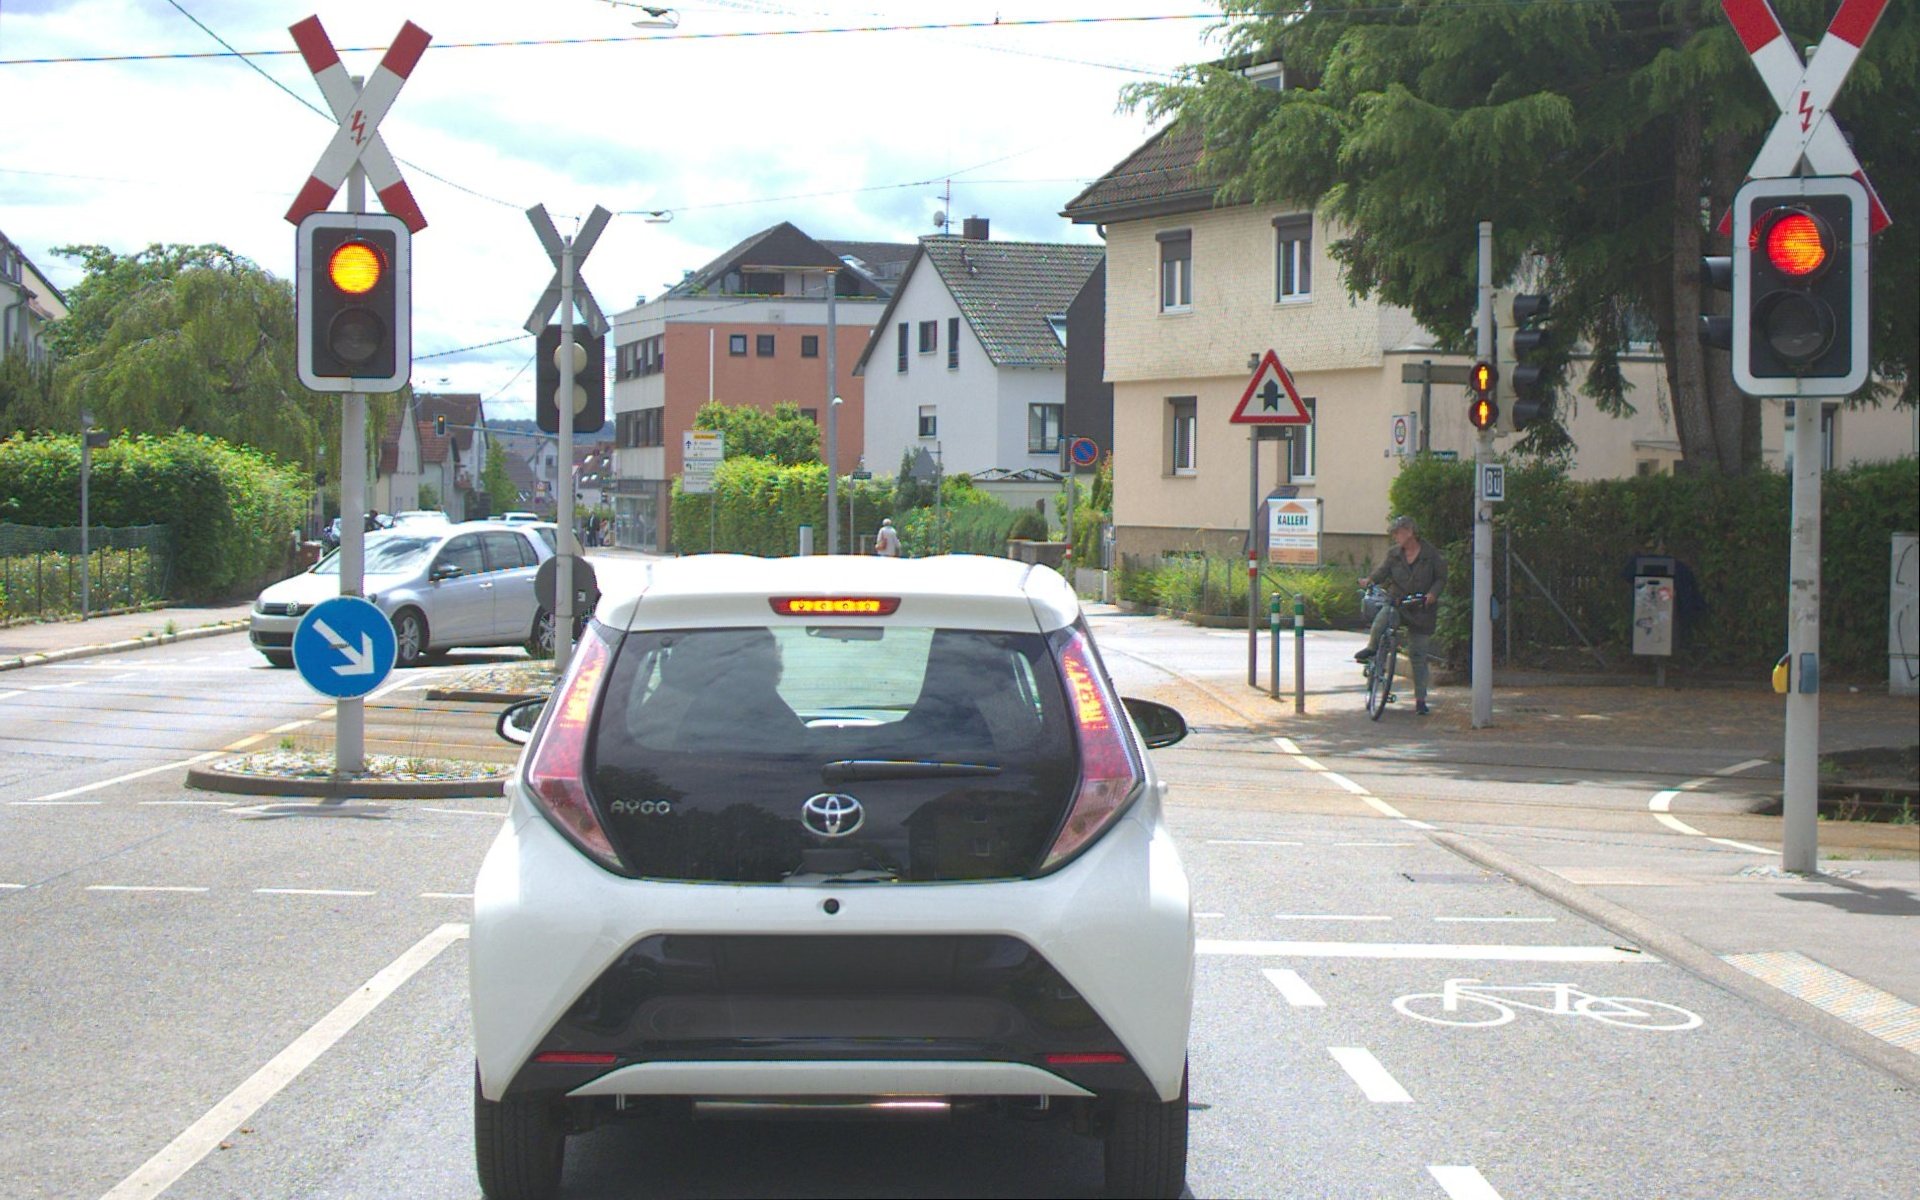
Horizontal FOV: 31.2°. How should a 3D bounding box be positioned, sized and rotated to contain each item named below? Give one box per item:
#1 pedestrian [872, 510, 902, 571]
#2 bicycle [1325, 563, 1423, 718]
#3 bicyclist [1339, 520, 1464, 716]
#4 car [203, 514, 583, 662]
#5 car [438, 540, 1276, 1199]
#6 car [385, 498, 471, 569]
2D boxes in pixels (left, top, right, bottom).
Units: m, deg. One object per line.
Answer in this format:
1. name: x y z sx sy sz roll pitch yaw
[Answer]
1. pedestrian: -1.915 -1.560 90.349 0.726 1.571 0.803 2 1 -1
2. bicycle: 3.451 0.324 28.723 0.457 1.168 1.480 -2 4 -6
3. bicyclist: 3.662 0.136 28.551 0.840 1.548 0.756 -2 4 -6
4. car: -6.010 -0.136 36.870 1.908 1.436 4.092 2 1 28
5. car: -0.342 0.591 9.073 1.721 1.437 3.709 2 1 -4
6. car: -13.582 -1.716 87.947 1.993 1.713 4.001 2 1 -7
